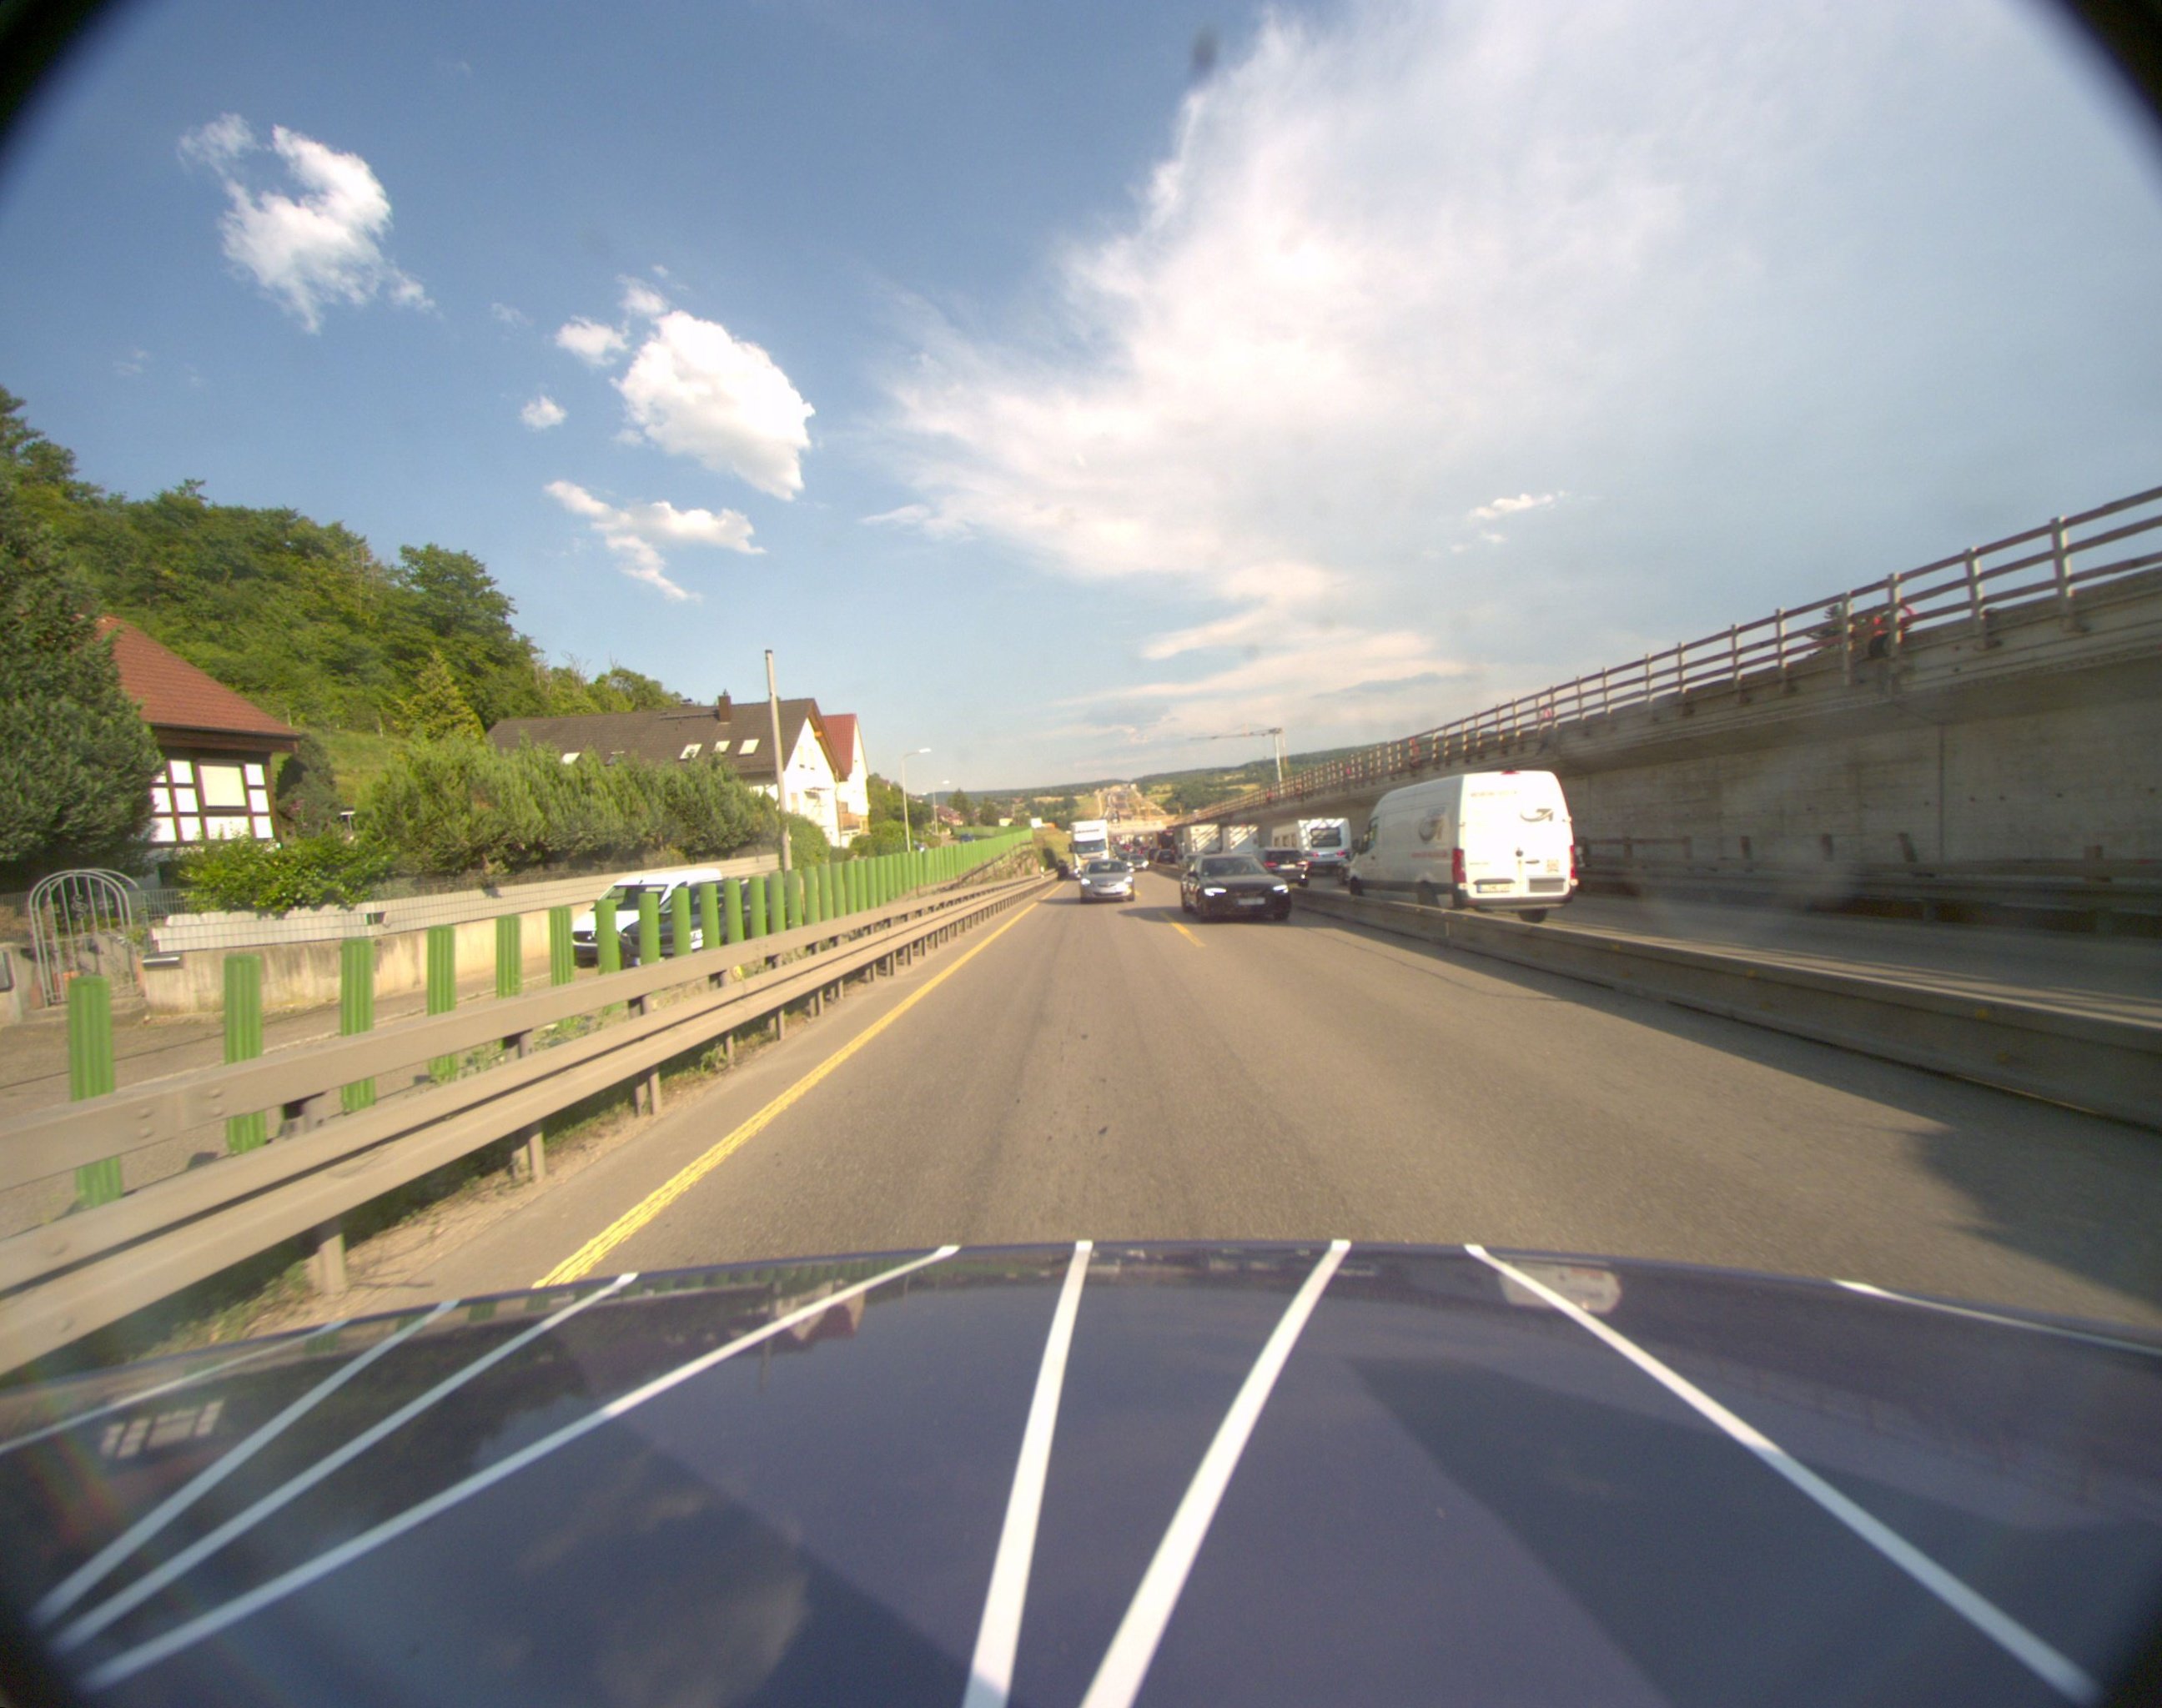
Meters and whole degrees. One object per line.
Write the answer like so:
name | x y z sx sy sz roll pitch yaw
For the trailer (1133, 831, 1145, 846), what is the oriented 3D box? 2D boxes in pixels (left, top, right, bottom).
trailer | 16.708 -4.542 220.319 2.778 4.008 15.761 -5 1 3

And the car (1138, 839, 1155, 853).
car | 9.649 -1.169 112.561 1.990 1.911 5.290 -6 1 2

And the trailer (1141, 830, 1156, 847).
trailer | 15.155 -3.543 172.165 2.563 3.506 10.680 -5 1 3

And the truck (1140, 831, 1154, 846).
truck | 15.432 -3.691 178.443 2.555 3.390 5.530 -5 1 2

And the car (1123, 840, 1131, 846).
car | 12.819 -2.945 211.665 1.729 1.548 4.297 -5 0 2

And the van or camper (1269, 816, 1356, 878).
van or camper | 11.131 -0.344 37.117 2.317 2.647 6.455 -3 1 2

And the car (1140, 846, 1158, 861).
car | 8.268 -0.094 92.659 1.836 1.635 4.688 -5 1 2

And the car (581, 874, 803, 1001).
car | -7.193 1.432 14.656 1.887 1.801 4.247 -5 0 1

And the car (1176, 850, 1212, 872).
car | 7.484 0.446 50.564 1.785 1.317 4.239 -4 0 1

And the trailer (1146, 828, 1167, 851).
trailer | 14.602 -2.687 147.537 2.771 4.117 14.026 -5 0 2

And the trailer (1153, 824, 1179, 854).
trailer | 13.265 -2.369 119.578 2.920 4.216 13.768 -5 1 3

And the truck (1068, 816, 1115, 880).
truck | 0.978 -0.556 56.990 2.741 4.034 12.669 -5 1 3

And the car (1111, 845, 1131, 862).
car | 4.510 -0.070 85.722 1.998 1.740 3.999 -4 1 1

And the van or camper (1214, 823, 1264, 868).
van or camper | 11.553 -0.657 55.953 2.325 2.972 6.222 -3 1 1

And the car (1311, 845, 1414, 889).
car | 10.269 0.425 28.170 1.977 1.413 4.899 -2 0 0

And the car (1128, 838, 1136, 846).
car | 12.693 -3.022 189.679 1.645 1.635 4.688 -5 1 2

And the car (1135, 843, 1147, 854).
car | 11.252 -1.088 142.835 1.826 1.762 5.139 -5 1 1

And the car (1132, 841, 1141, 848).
car | 12.518 -2.137 172.395 1.644 1.451 4.595 -5 1 2

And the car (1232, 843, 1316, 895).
car | 7.115 0.482 28.556 1.842 1.584 4.867 -5 1 1

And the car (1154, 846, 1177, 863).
car | 8.309 0.052 75.169 1.768 1.442 4.458 -5 0 1

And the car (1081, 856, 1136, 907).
car | 0.939 0.890 25.963 1.671 1.425 3.524 -4 1 2

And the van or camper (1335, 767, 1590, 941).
van or camper | 6.998 -0.017 14.921 1.998 2.691 5.956 -2 0 1

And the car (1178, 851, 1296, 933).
car | 3.420 0.764 17.484 1.872 1.411 4.348 -5 1 2

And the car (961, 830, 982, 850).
car | -12.236 -1.498 84.733 1.712 2.002 3.995 -5 1 -14

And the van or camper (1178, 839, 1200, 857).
van or camper | 12.709 -0.735 89.826 1.921 1.911 4.923 -5 1 3

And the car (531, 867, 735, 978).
car | -9.983 1.412 17.431 1.811 1.860 4.438 -4 2 1

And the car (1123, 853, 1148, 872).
car | 4.411 0.673 61.691 1.692 1.294 3.882 -5 1 1

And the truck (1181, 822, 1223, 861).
truck | 11.430 -1.236 72.607 2.721 3.405 8.139 -2 1 1
